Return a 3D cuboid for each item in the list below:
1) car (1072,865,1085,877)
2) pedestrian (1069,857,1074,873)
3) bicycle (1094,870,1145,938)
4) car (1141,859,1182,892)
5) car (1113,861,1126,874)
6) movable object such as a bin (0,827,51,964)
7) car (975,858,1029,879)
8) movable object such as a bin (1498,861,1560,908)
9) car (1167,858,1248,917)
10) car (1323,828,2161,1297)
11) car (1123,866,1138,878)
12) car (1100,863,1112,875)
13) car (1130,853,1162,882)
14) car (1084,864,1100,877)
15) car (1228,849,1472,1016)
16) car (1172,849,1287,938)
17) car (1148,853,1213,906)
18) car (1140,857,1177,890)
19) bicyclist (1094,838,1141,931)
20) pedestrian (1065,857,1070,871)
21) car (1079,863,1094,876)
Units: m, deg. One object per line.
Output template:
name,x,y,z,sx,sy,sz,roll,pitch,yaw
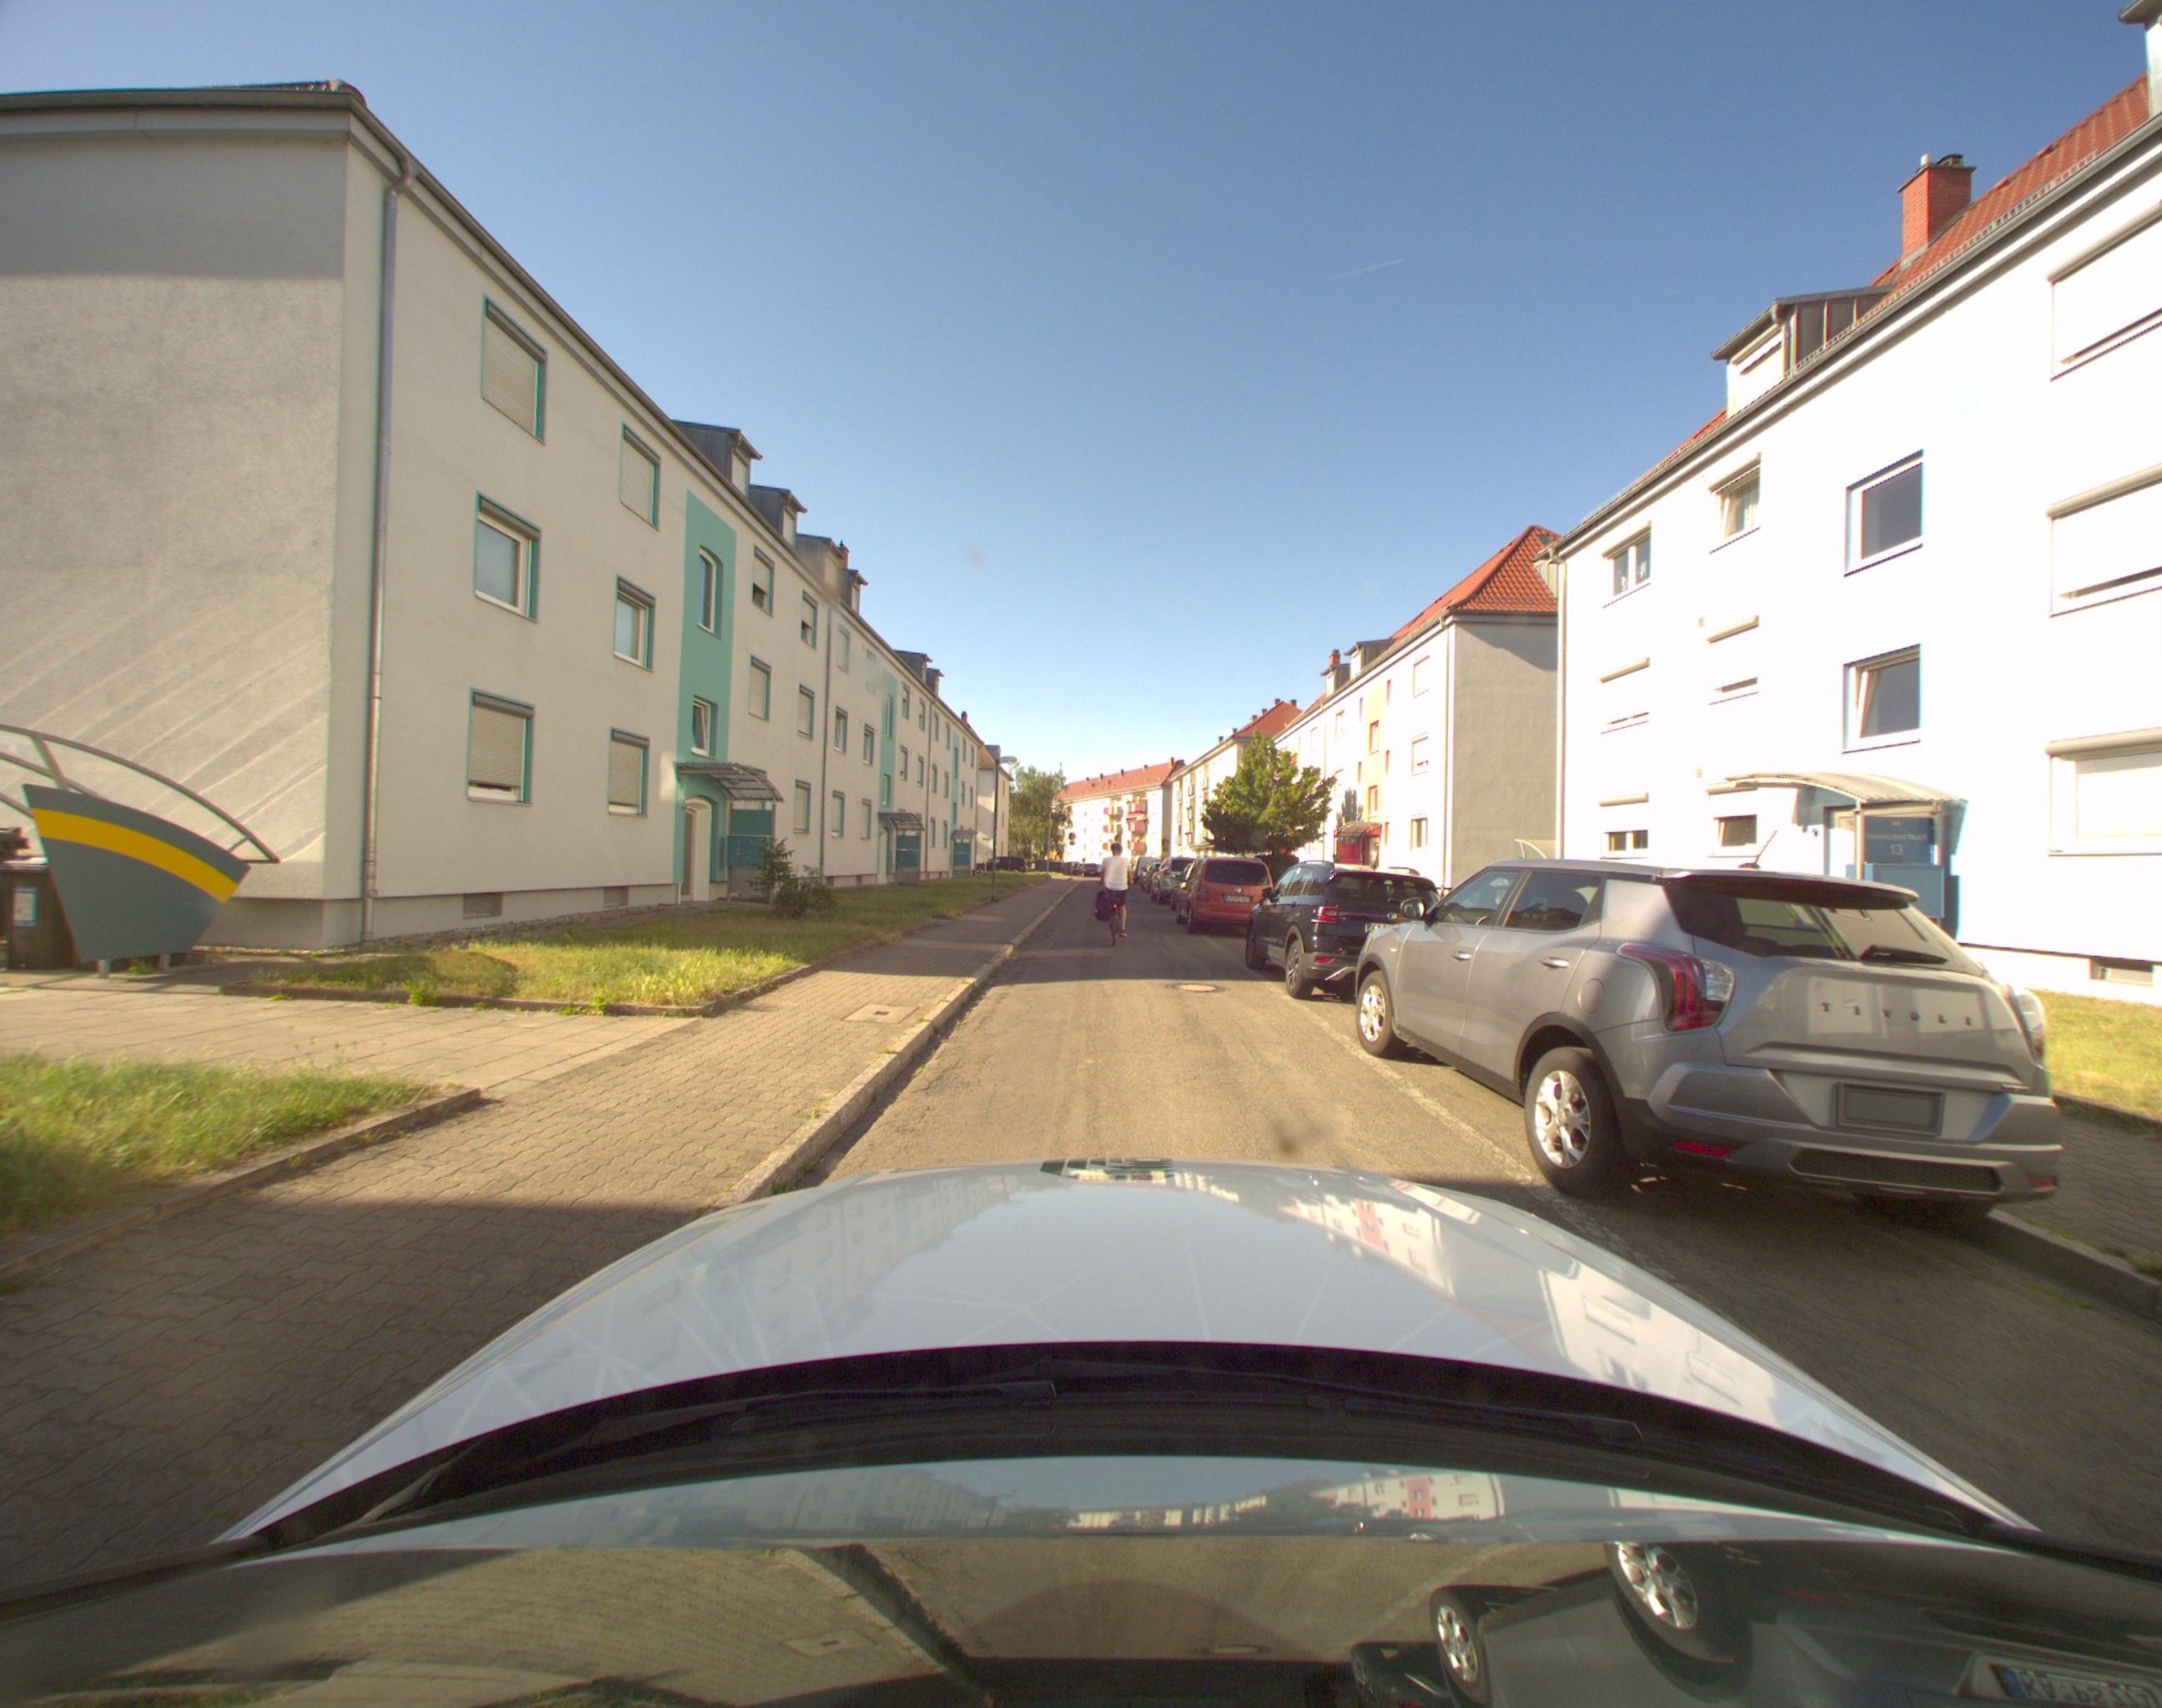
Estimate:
car,-0.343,1.956,96.443,1.465,1.335,3.139,-2,0,-1
pedestrian,-0.926,1.116,81.569,0.433,1.574,0.543,3,-1,1
bicycle,0.674,0.866,14.914,0.806,1.128,2.101,0,0,-1
car,3.708,0.963,38.043,1.553,1.411,3.934,2,0,1
car,4.832,1.704,101.776,1.377,1.497,3.076,2,0,-1
movable object such as a bin,-11.329,0.400,7.953,1.250,1.356,0.903,1,-1,-10
car,-6.448,1.169,66.768,4.221,1.638,1.581,1,0,-3
movable object such as a bin,14.296,0.956,26.012,1.355,1.416,1.188,1,-1,1
car,3.585,0.912,23.655,1.613,1.460,3.839,4,0,-1
car,3.137,0.770,5.208,1.745,1.617,4.450,4,0,0
car,5.730,2.098,94.862,1.465,1.335,3.140,2,0,-1
car,3.536,2.091,114.497,1.465,1.516,3.076,2,0,-1
car,4.142,0.831,52.298,1.669,1.739,3.941,2,0,-1
car,1.146,1.716,85.399,1.466,1.335,3.137,-2,0,-3
car,3.154,0.808,10.537,1.706,1.595,4.398,4,0,1
car,3.167,0.802,18.204,1.855,1.668,4.128,3,0,1
car,3.441,0.835,28.790,1.695,1.671,4.379,3,0,0
car,4.058,1.004,42.941,1.554,1.576,3.365,2,0,-1
bicyclist,0.664,0.541,14.933,0.806,1.643,0.898,0,-1,-1
pedestrian,-1.386,0.978,81.453,0.433,1.427,0.543,3,0,1
car,0.588,1.736,89.781,1.466,1.335,3.138,-2,0,-3
